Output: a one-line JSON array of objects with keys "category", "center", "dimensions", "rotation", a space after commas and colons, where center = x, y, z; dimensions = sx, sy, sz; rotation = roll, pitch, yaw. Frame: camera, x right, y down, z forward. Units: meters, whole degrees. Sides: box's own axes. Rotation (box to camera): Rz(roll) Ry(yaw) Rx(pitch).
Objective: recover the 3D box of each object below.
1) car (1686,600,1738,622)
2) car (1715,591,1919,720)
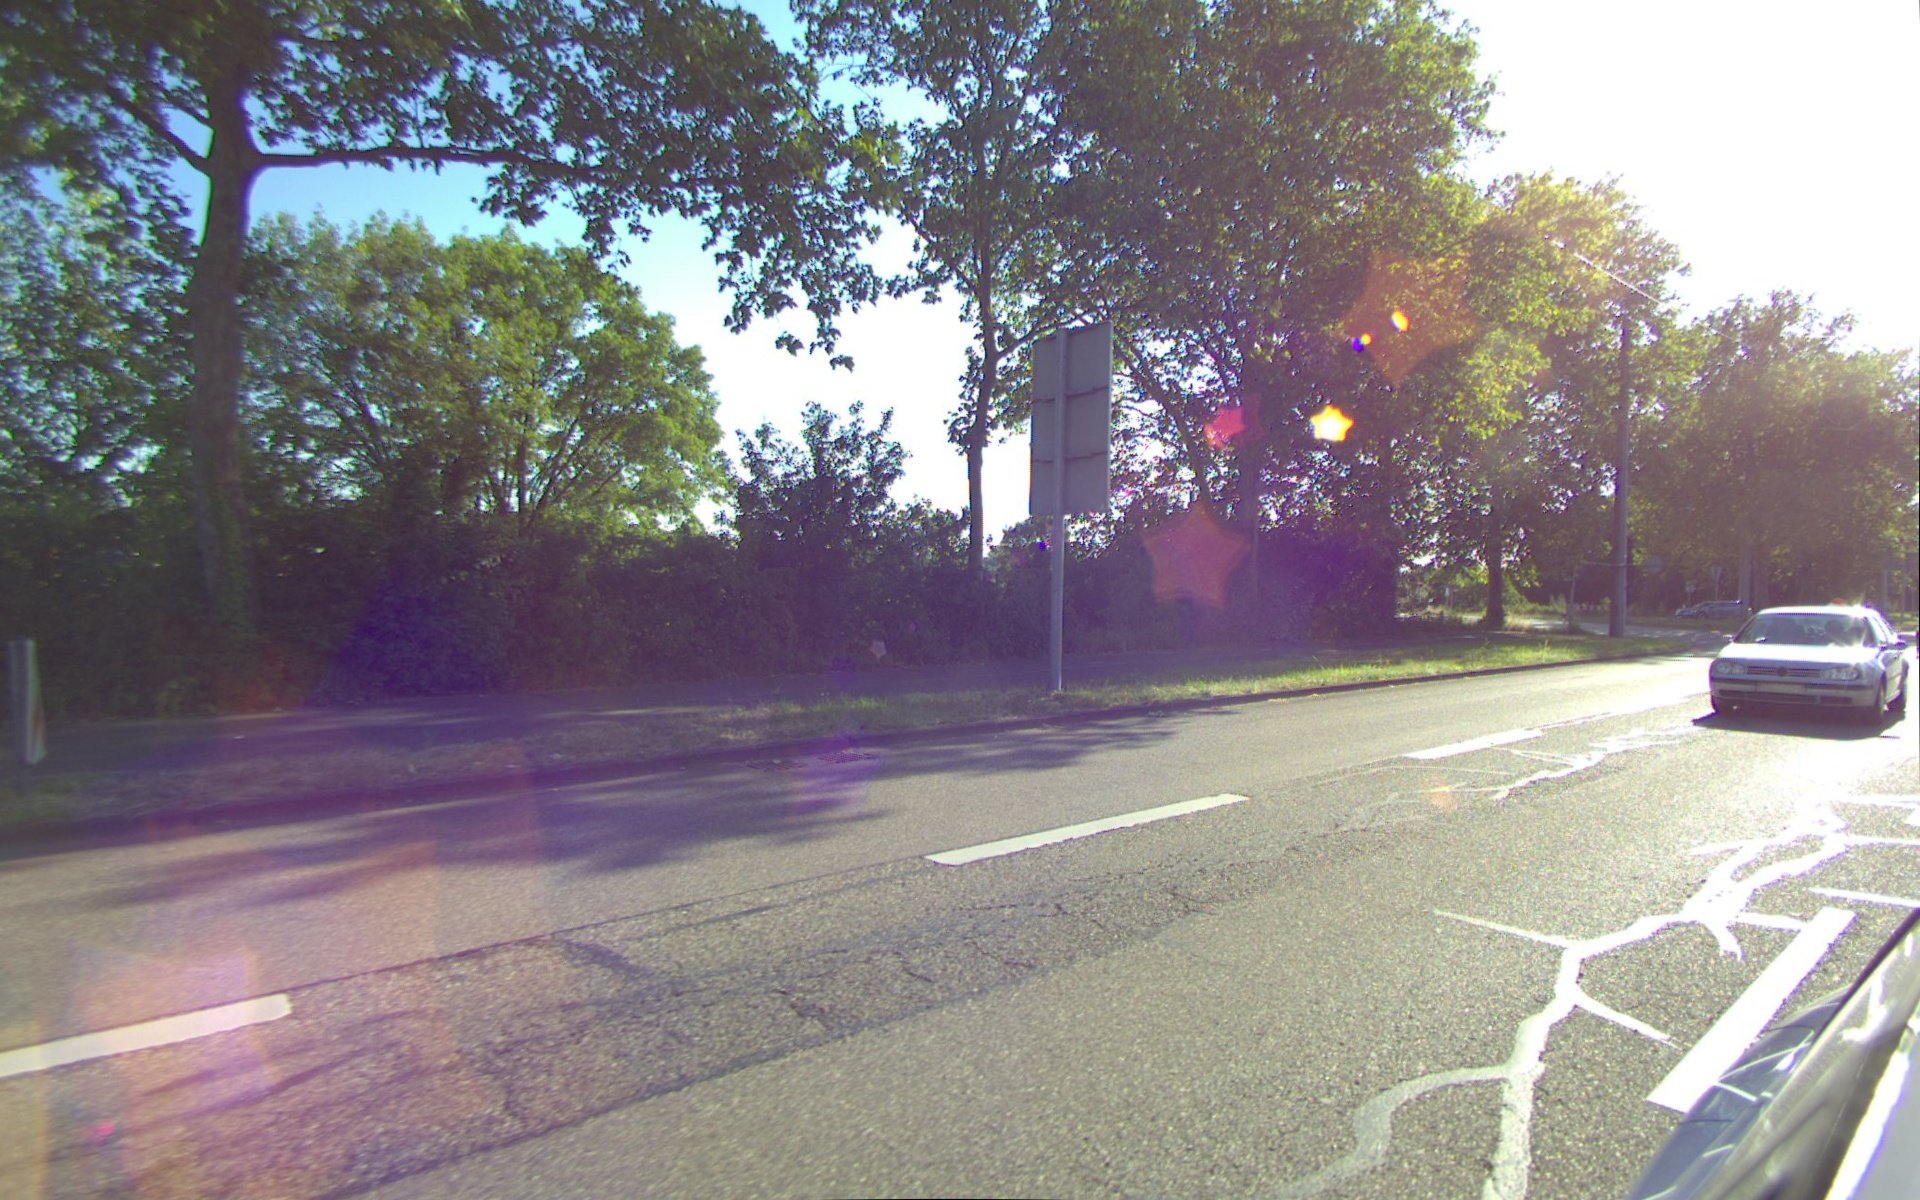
[{"category": "car", "center": [53.686, 0.775, 72.252], "dimensions": [4.575, 1.461, 1.881], "rotation": [-1, 1, -38]}, {"category": "car", "center": [11.801, 0.628, 13.651], "dimensions": [3.930, 1.463, 1.724], "rotation": [-1, 1, -40]}]
